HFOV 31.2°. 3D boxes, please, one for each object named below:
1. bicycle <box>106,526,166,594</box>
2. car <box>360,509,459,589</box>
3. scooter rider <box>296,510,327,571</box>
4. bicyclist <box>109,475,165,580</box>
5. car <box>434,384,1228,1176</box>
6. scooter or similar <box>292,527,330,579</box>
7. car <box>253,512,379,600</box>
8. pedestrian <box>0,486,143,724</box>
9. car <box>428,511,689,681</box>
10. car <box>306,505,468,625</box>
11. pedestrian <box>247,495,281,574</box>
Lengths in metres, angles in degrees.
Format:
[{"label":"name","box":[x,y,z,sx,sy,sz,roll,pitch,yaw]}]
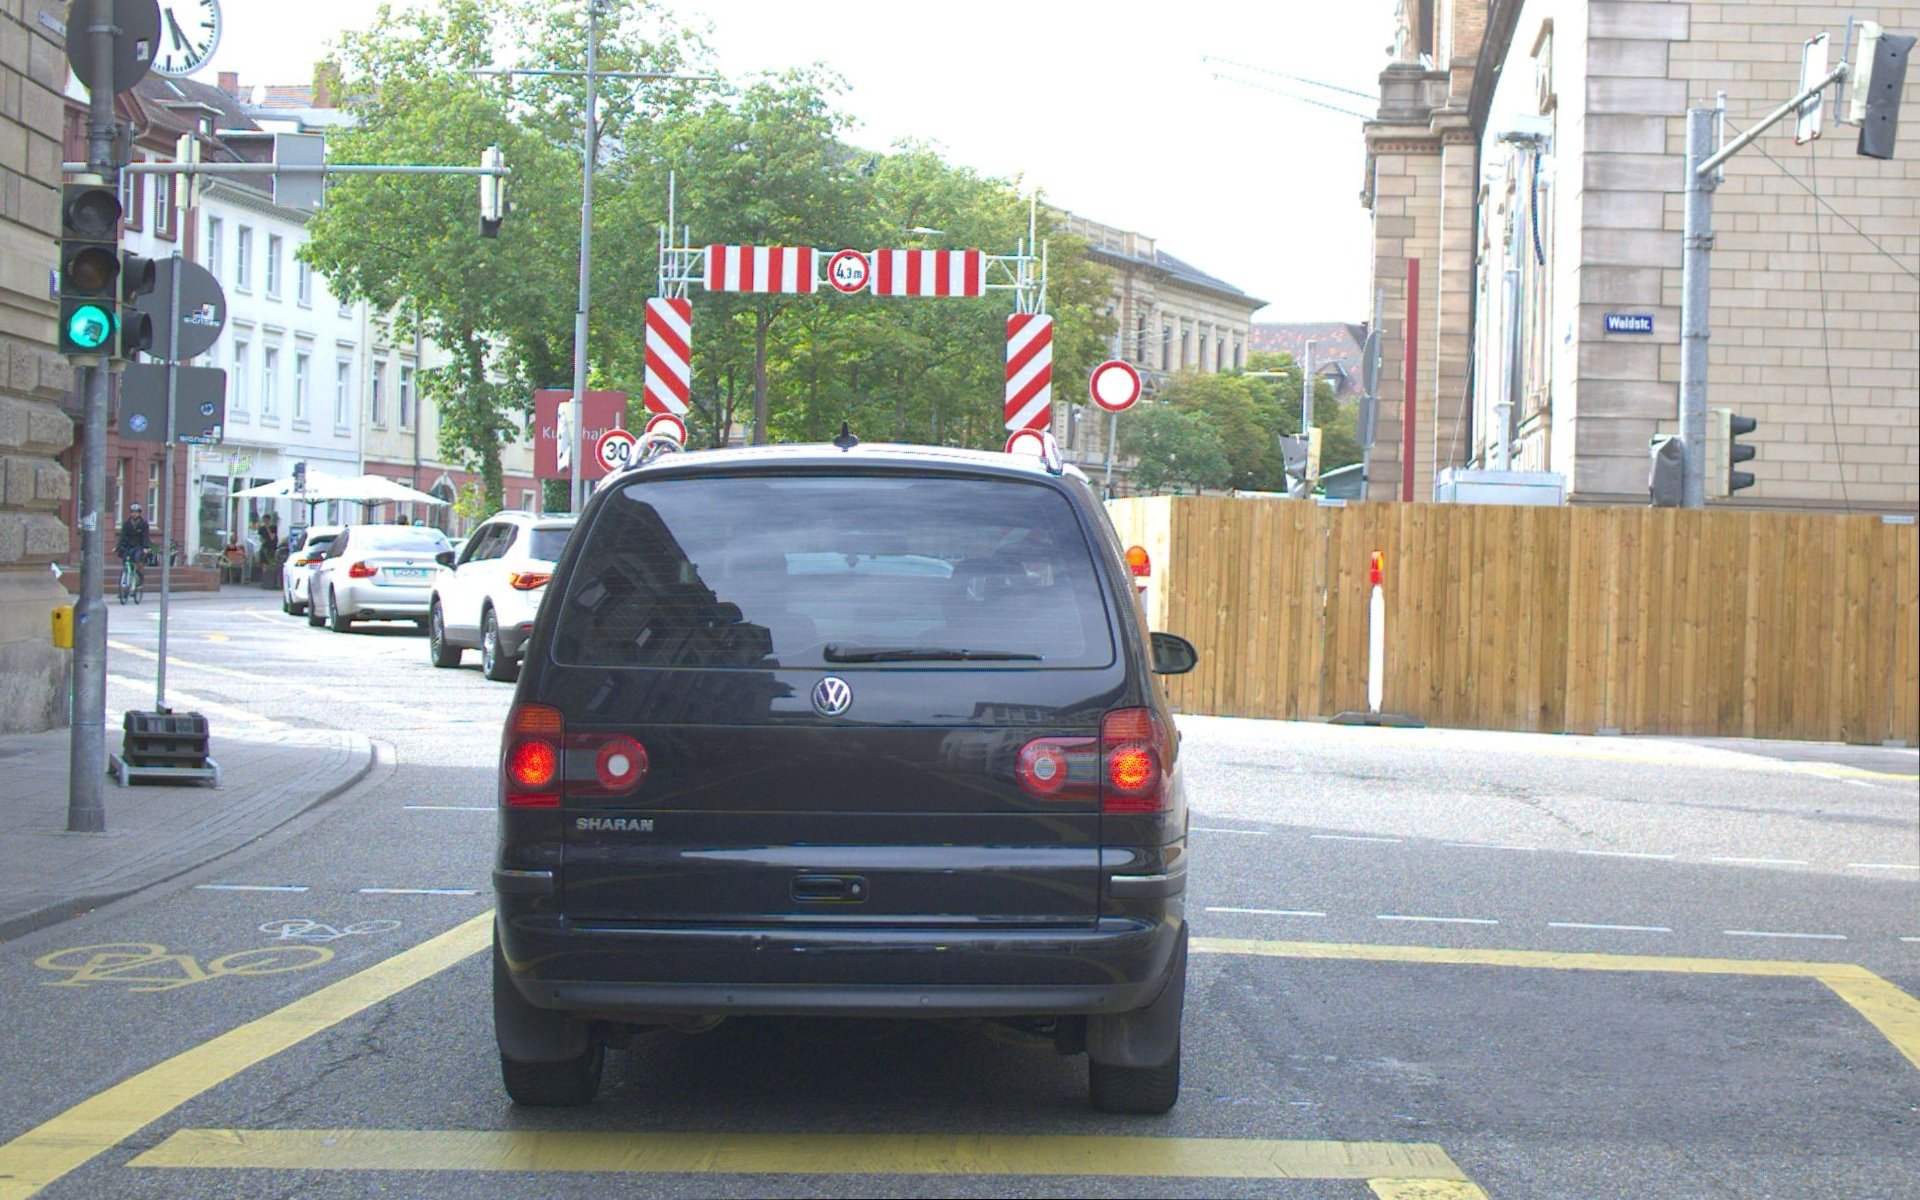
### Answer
[{"label":"bicycle","box":[-15.652,-0.765,65.318,0.925,1.251,2.542,1,1,-10]},{"label":"car","box":[-11.463,-1.056,71.771,1.773,1.580,4.001,1,1,-6]},{"label":"scooter rider","box":[-15.922,-1.452,84.467,0.599,1.485,0.679,1,0,0]},{"label":"bicyclist","box":[-15.628,-1.371,65.290,0.925,1.956,1.106,1,0,-10]},{"label":"car","box":[-0.284,0.396,10.039,1.789,1.784,4.103,2,1,0]},{"label":"scooter or similar","box":[-15.932,-1.147,84.414,0.599,1.251,1.552,1,0,1]},{"label":"car","box":[-10.295,-0.709,54.807,1.649,1.317,3.676,1,1,-15]},{"label":"pedestrian","box":[-7.145,0.035,27.265,1.044,1.813,0.795,3,0,-1]},{"label":"car","box":[-4.102,-0.062,34.598,1.772,1.580,4.001,1,1,-19]},{"label":"car","box":[-7.682,-0.473,45.874,1.703,1.496,4.001,1,1,-15]},{"label":"pedestrian","box":[-17.771,-1.675,87.794,0.585,2.007,0.686,1,0,13]}]
